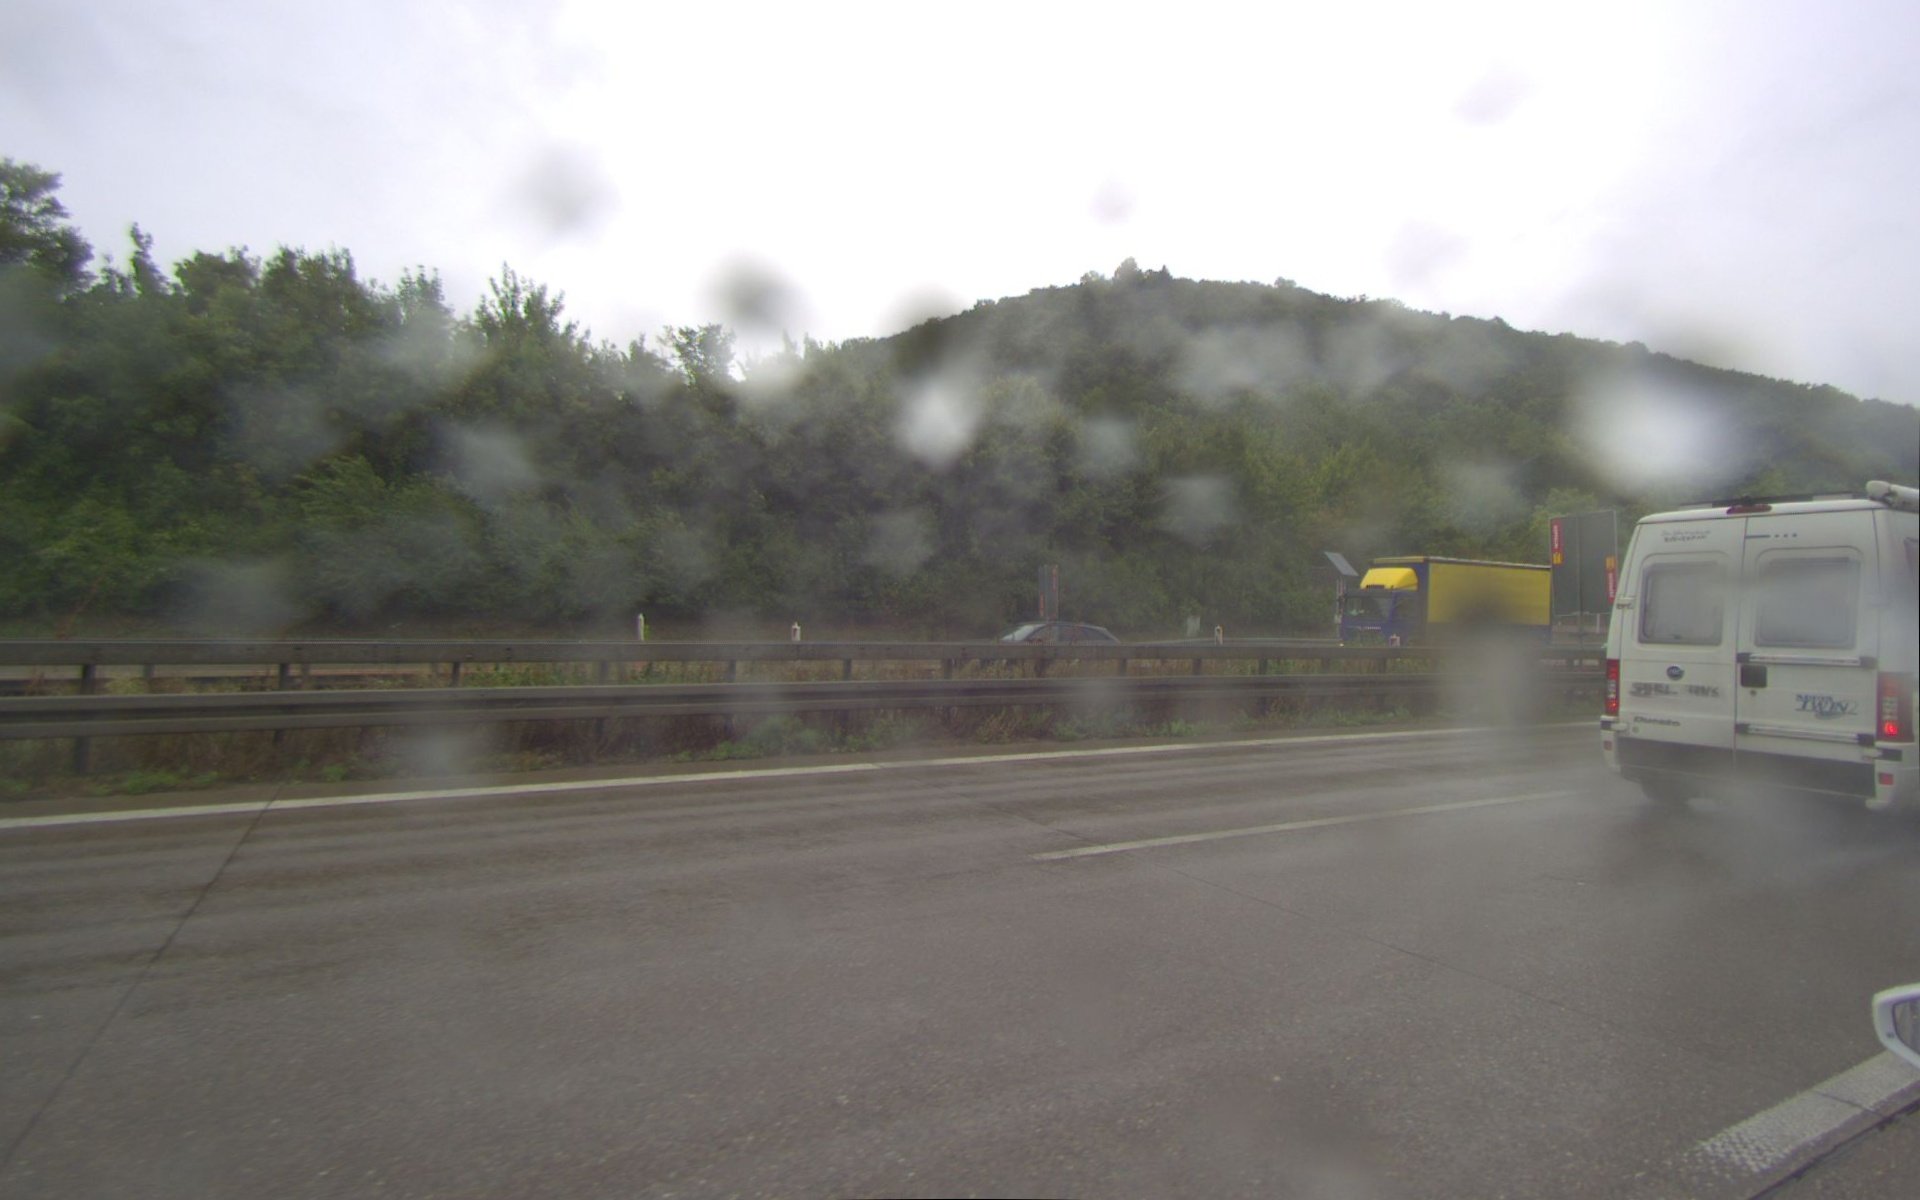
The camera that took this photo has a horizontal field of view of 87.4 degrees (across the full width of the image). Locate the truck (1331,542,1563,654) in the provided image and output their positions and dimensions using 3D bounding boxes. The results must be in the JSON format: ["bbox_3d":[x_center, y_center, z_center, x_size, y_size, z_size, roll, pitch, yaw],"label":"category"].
[{"bbox_3d":[18.150,0.006,37.184,9.681,3.750,2.573,1,1,-29],"label":"truck"}]

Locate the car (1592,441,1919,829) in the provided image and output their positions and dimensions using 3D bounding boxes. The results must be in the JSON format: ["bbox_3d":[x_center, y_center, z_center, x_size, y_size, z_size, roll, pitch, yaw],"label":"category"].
[{"bbox_3d":[8.050,0.249,8.693,5.725,2.464,1.987,1,1,-31],"label":"car"}]
